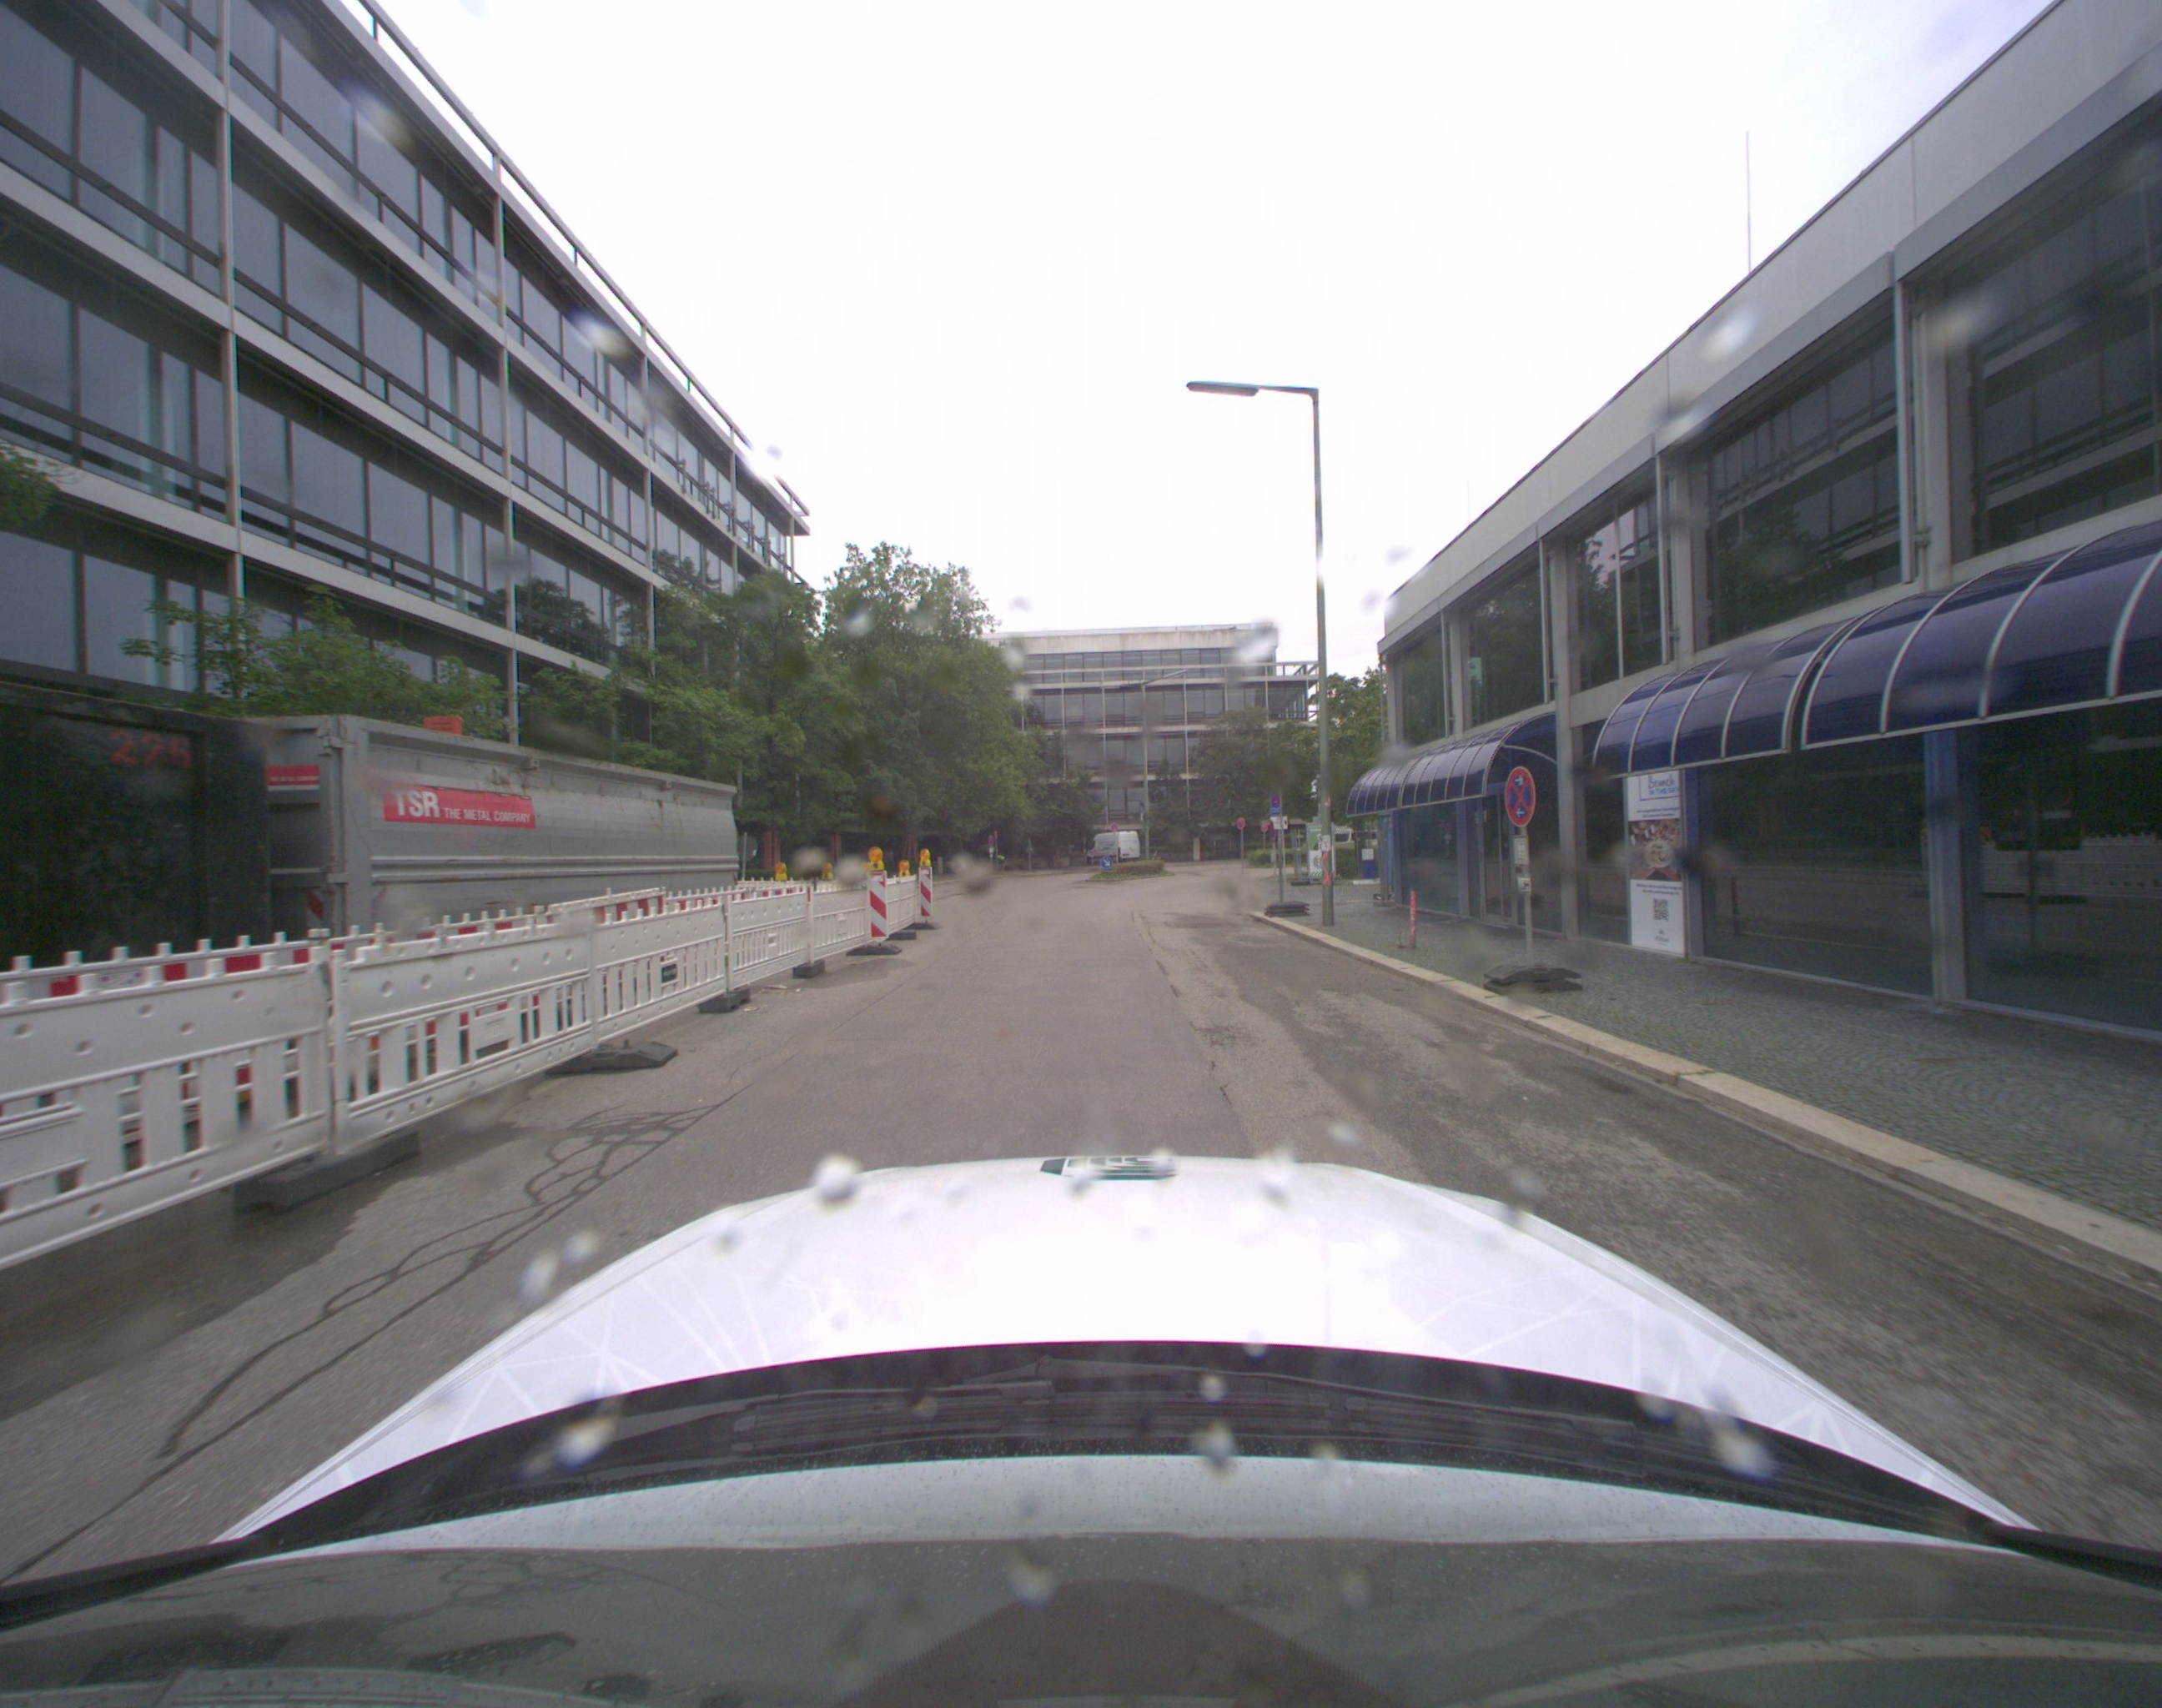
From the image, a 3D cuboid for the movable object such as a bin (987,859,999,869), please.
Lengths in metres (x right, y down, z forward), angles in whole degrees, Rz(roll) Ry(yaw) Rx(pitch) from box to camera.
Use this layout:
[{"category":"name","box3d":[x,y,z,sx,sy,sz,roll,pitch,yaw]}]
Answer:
[{"category":"movable object such as a bin","box3d":[-6.964,0.816,64.630,0.831,0.753,0.573,-1,0,4]}]

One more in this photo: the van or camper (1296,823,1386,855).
[{"category":"van or camper","box3d":[20.168,-1.191,63.335,6.404,2.281,2.245,-2,0,-13]}]

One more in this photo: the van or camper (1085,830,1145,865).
[{"category":"van or camper","box3d":[2.697,-0.459,66.636,2.166,2.580,6.486,-1,-1,-24]}]

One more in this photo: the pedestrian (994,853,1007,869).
[{"category":"pedestrian","box3d":[-6.404,0.553,64.655,0.922,1.278,0.542,-1,0,3]}]
